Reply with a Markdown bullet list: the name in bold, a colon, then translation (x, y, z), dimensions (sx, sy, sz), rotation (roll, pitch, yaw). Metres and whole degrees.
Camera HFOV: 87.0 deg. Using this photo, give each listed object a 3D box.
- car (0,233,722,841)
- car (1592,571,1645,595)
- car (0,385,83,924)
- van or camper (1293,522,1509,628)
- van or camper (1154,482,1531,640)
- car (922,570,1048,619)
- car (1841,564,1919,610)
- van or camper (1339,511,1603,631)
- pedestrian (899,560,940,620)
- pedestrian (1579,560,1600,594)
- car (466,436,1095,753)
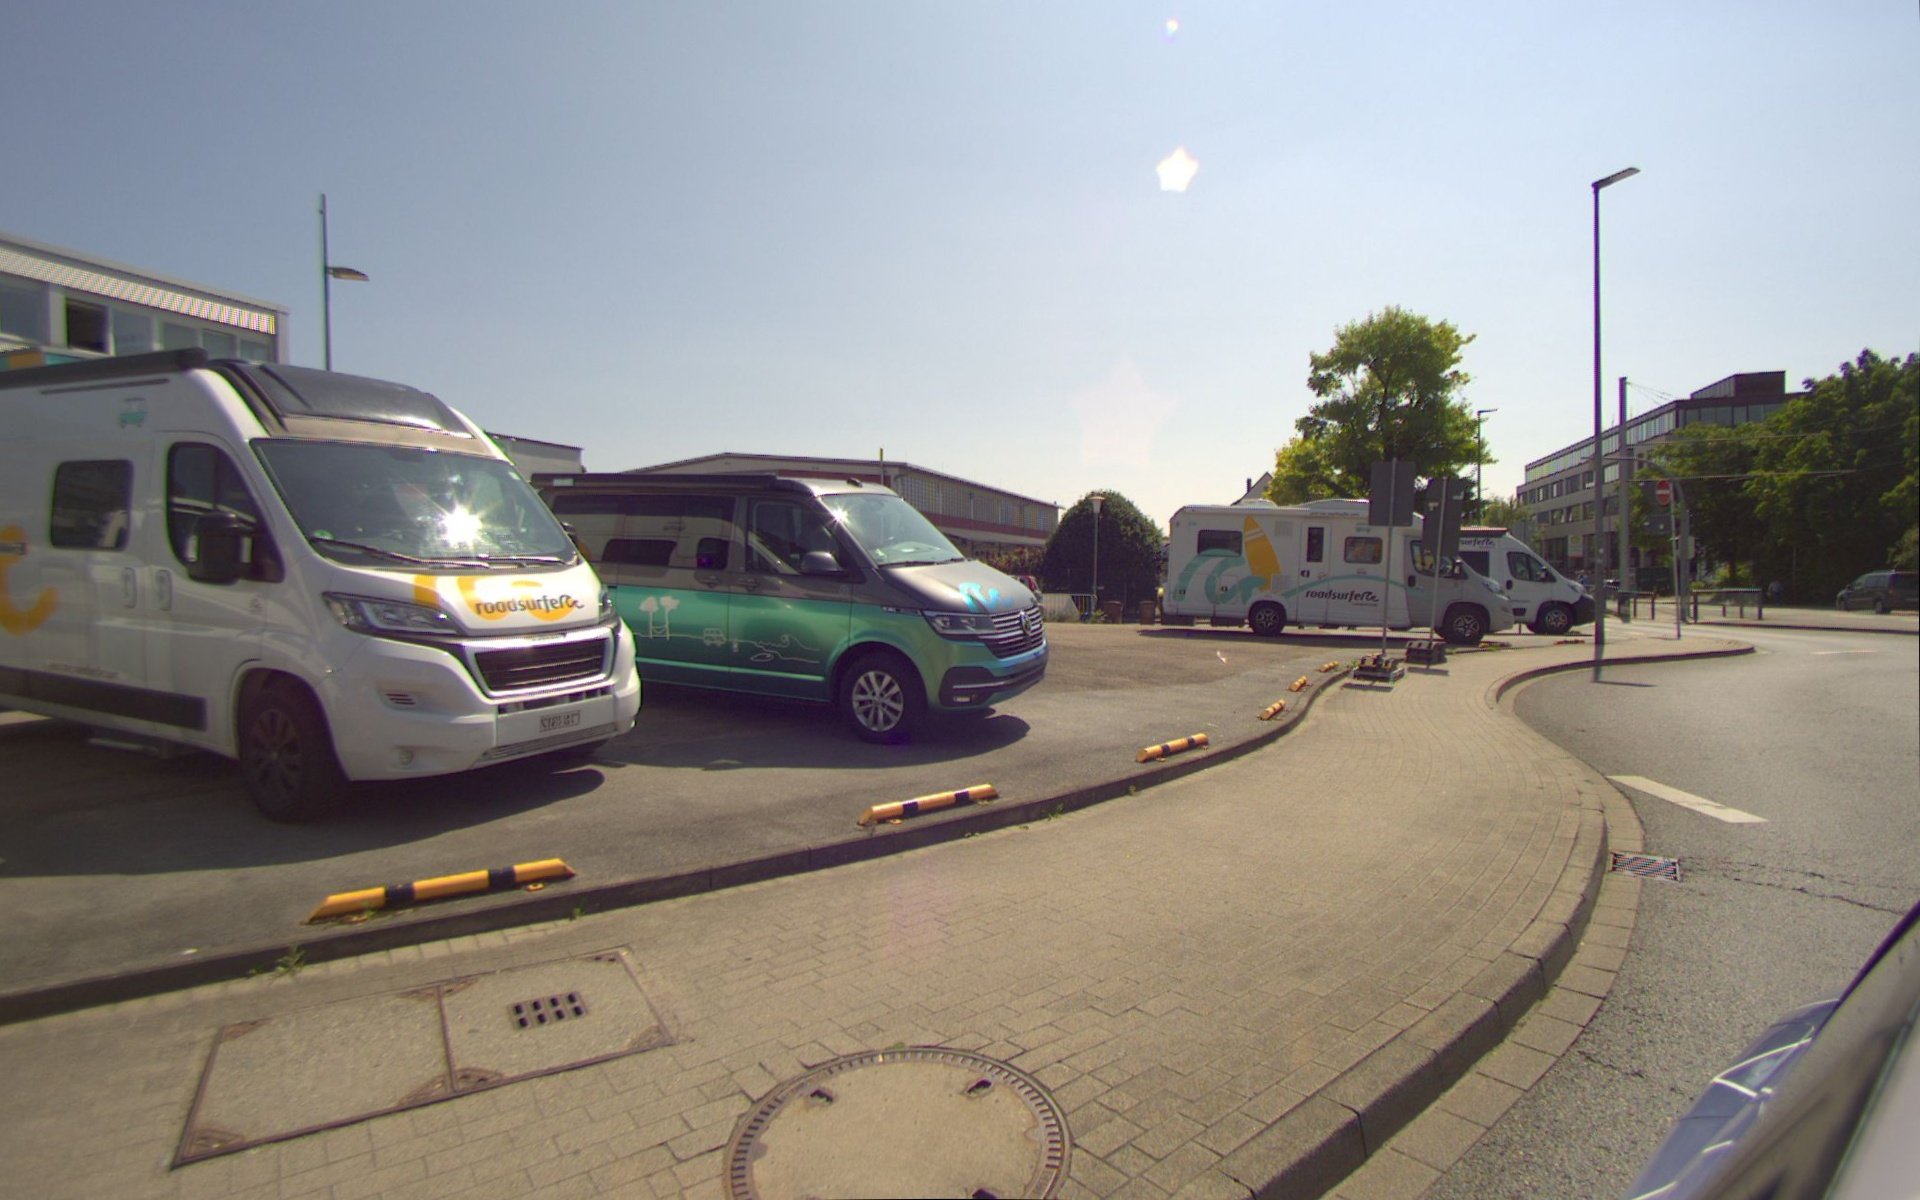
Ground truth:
- **car**: translation (-4.780, -0.335, 6.990), dimensions (6.095, 2.751, 2.286), rotation (1, 1, 27)
- **car**: translation (49.742, -1.302, 76.535), dimensions (1.904, 1.602, 4.177), rotation (3, 3, 13)
- **car**: translation (-6.200, 0.198, 4.365), dimensions (5.113, 2.025, 2.005), rotation (1, 2, 29)
- **van or camper**: translation (12.532, -0.618, 29.126), dimensions (5.460, 2.851, 2.032), rotation (-1, -2, 23)
- **van or camper**: translation (7.786, -0.867, 21.351), dimensions (6.992, 2.982, 2.322), rotation (2, 2, 19)
- **car**: translation (0.846, -0.158, 33.045), dimensions (3.839, 1.535, 1.807), rotation (0, -2, 15)
- **car**: translation (39.633, -0.563, 42.885), dimensions (1.965, 1.841, 4.381), rotation (0, 1, 20)
- **van or camper**: translation (12.746, -0.704, 25.762), dimensions (5.759, 2.809, 2.076), rotation (0, 0, 21)
- **pedestrian**: translation (-1.191, -0.298, 29.897), dimensions (0.770, 1.691, 0.937), rotation (0, 4, 29)
- **pedestrian**: translation (33.768, -1.223, 54.304), dimensions (0.716, 1.746, 0.939), rotation (-1, 0, 18)
- **car**: translation (-1.620, -0.198, 8.870), dimensions (5.172, 2.138, 2.081), rotation (3, 4, 25)
